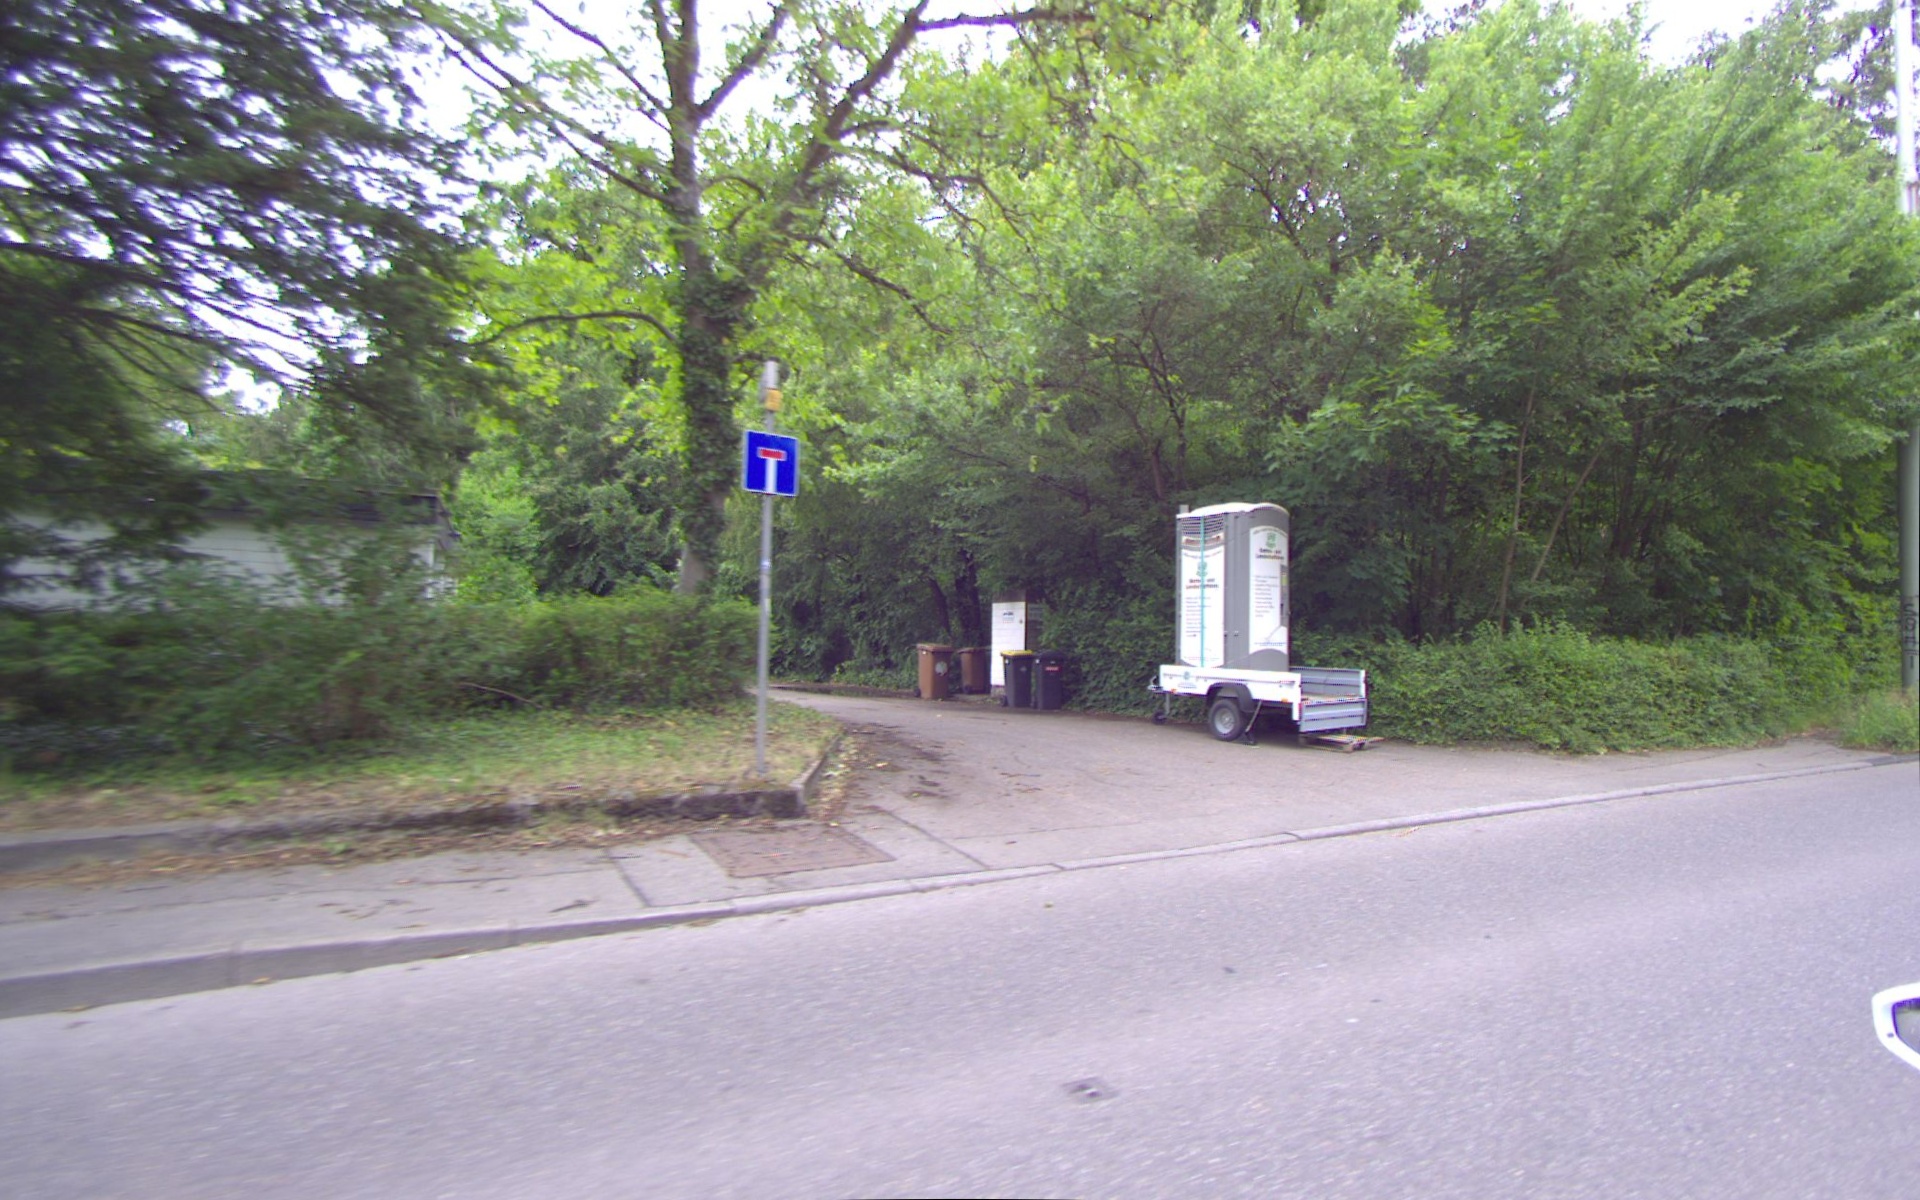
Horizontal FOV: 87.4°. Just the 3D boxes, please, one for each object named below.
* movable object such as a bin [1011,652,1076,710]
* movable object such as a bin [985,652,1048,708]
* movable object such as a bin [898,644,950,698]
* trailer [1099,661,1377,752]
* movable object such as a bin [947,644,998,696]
[{"bbox_3d":[1.350,1.299,16.255,0.848,0.887,0.631,2,-2,-25],"label":"movable object such as a bin"},{"bbox_3d":[0.941,1.326,16.790,0.848,0.887,0.631,2,-2,-25],"label":"movable object such as a bin"},{"bbox_3d":[-0.706,1.387,19.674,0.848,1.018,0.631,2,-2,-25],"label":"movable object such as a bin"},{"bbox_3d":[3.265,1.207,12.090,1.464,0.839,2.929,2,-2,-41],"label":"trailer"},{"bbox_3d":[0.253,1.401,20.297,0.848,1.018,0.631,2,-2,-25],"label":"movable object such as a bin"}]
